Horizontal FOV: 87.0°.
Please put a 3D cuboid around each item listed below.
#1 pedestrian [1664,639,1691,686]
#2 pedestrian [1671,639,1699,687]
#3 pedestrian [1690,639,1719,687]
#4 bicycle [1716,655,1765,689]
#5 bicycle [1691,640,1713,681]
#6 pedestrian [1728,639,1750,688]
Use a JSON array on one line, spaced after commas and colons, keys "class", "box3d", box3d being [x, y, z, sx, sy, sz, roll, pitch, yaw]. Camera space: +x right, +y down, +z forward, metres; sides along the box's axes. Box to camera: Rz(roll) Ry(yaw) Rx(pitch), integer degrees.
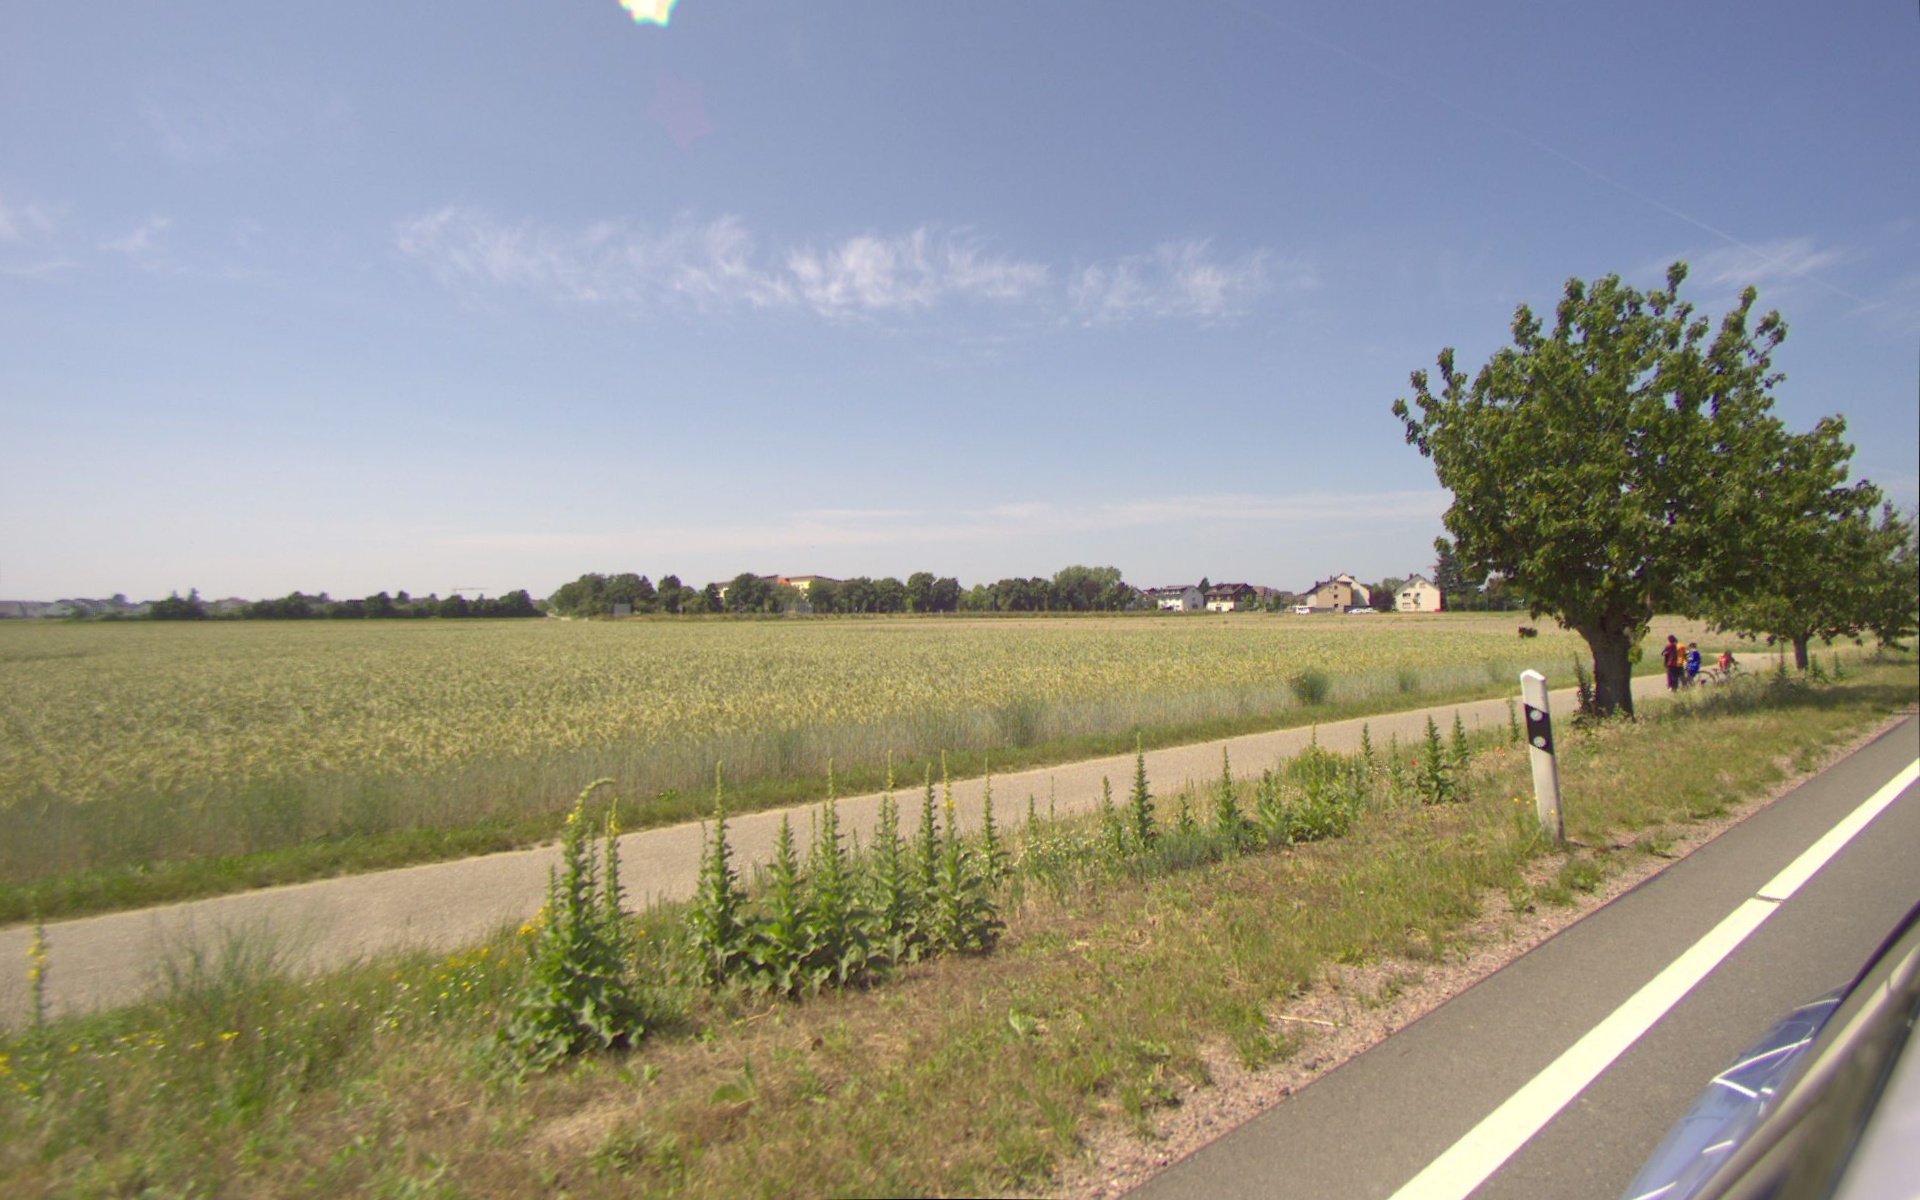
[{"class": "pedestrian", "box3d": [20.666, 1.799, 29.143, 0.434, 1.312, 0.486, 0, 0, 5]}, {"class": "pedestrian", "box3d": [20.396, 1.768, 28.481, 0.434, 1.330, 0.487, 0, 0, 2]}, {"class": "pedestrian", "box3d": [20.941, 1.778, 28.476, 0.433, 1.312, 0.488, 0, 0, -7]}, {"class": "bicycle", "box3d": [21.559, 1.974, 27.972, 0.433, 0.871, 1.120, 0, 0, -4]}, {"class": "bicycle", "box3d": [22.908, 1.852, 31.247, 0.473, 1.180, 1.661, -1, -1, 34]}, {"class": "pedestrian", "box3d": [21.833, 1.769, 28.374, 0.440, 1.312, 0.480, 0, -1, 43]}]
